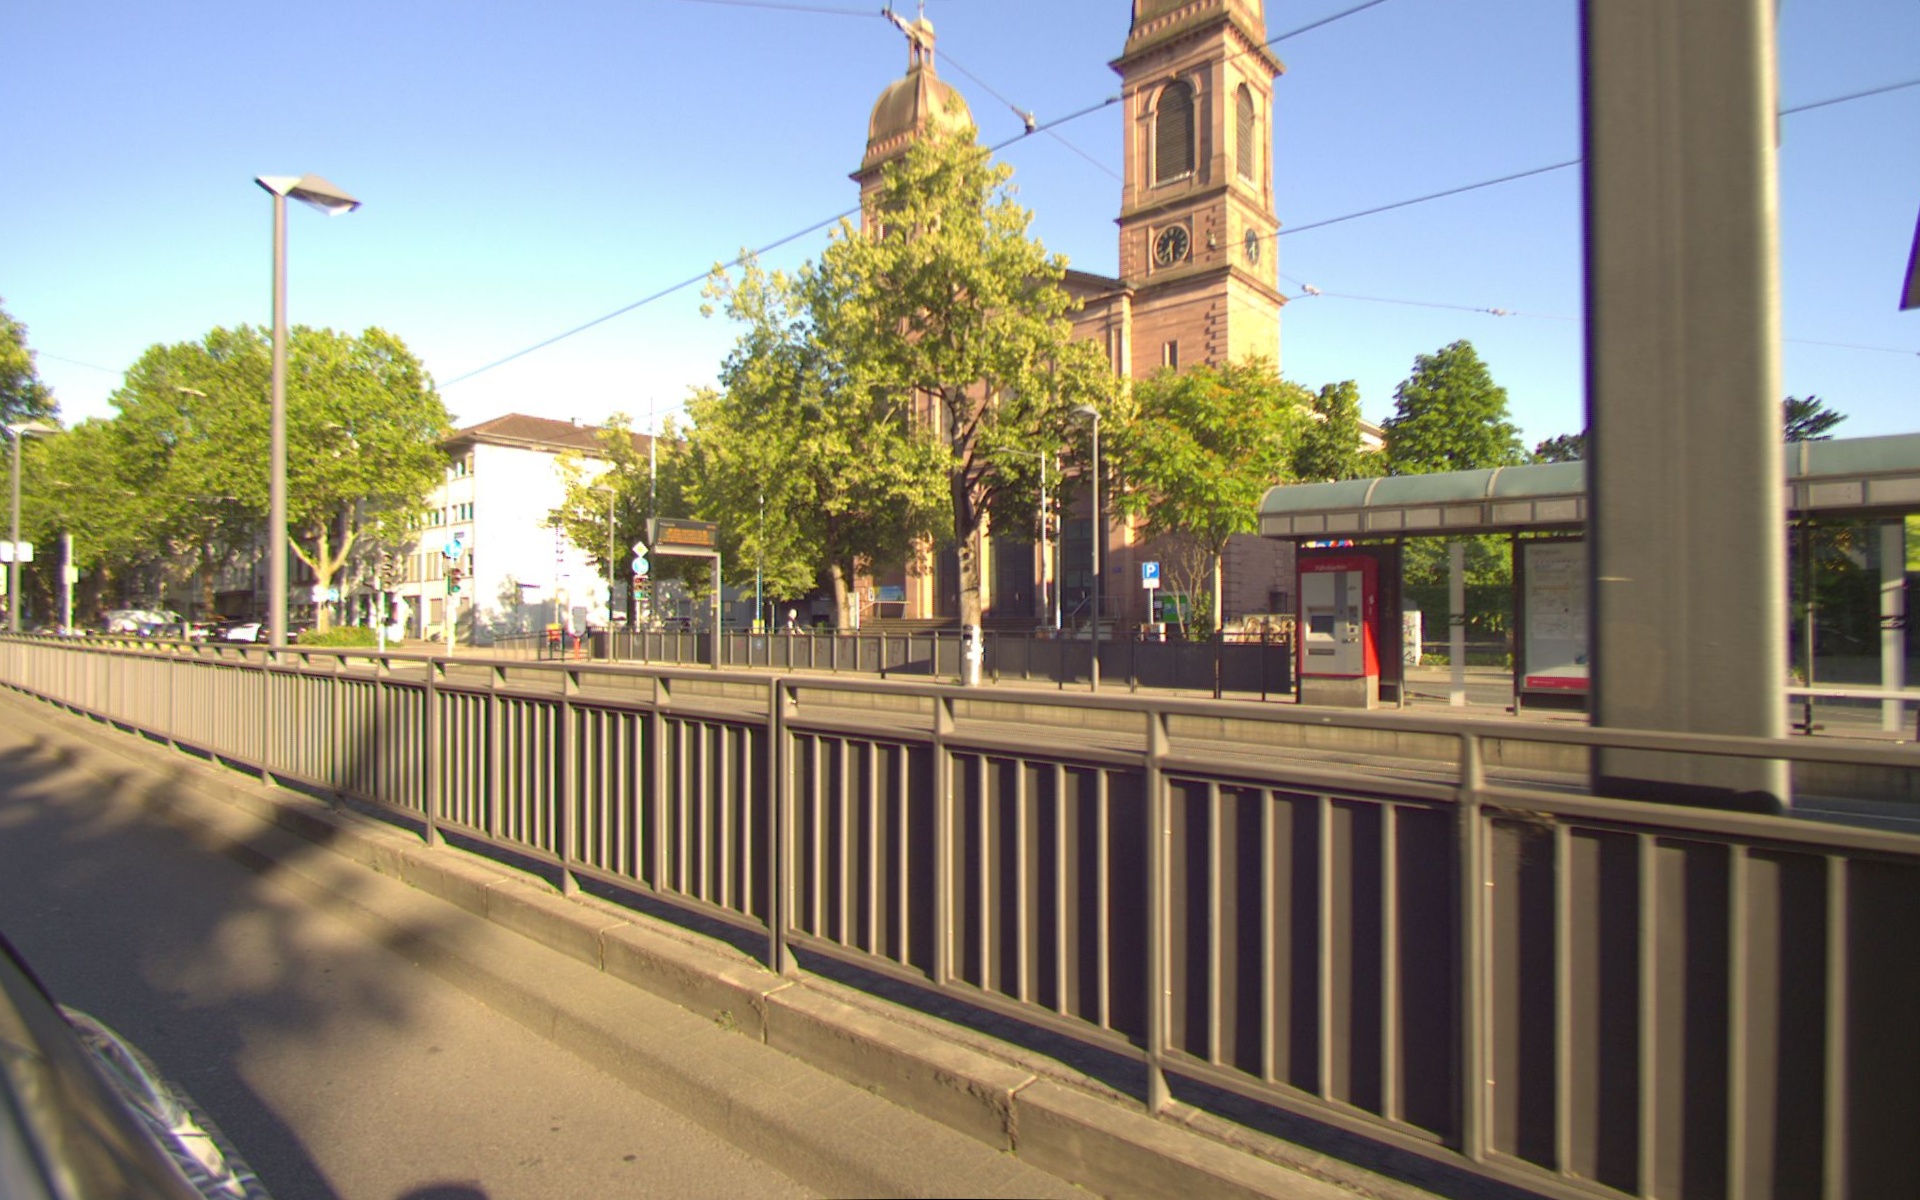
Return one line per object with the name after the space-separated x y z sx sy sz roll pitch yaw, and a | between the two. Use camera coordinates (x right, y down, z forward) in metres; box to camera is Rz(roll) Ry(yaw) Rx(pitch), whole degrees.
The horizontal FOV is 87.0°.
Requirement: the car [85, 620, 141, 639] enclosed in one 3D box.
-86.895 3.022 103.904 1.981 1.829 3.982 -1 -1 14 | car

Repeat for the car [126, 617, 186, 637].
-74.995 2.540 94.495 1.981 1.829 3.981 1 -2 14 | car

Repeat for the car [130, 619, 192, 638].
-70.799 2.516 89.711 1.981 1.630 3.982 -1 -1 14 | car

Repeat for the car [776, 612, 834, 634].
-10.501 1.584 68.473 3.999 1.409 1.792 -2 -2 42 | car

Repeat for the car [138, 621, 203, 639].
-68.393 2.563 87.710 1.986 1.529 3.972 -1 -1 21 | car

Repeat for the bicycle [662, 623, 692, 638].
-19.403 2.102 69.456 0.632 0.988 1.962 -2 -2 42 | bicycle

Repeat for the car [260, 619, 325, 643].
-43.766 2.022 66.427 1.717 1.443 3.972 -2 -1 -2 | car

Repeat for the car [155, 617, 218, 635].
-65.034 2.207 85.194 1.884 1.468 4.250 0 -1 5 | car

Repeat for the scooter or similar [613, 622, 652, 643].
-19.222 1.911 59.294 2.447 1.135 1.082 -5 -4 42 | scooter or similar

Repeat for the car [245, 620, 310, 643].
-46.219 2.104 68.617 1.805 1.515 3.972 0 -1 -2 | car

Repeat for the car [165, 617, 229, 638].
-60.192 2.149 79.969 1.880 1.626 4.257 0 -1 -1 | car

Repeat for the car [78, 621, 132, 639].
-89.465 3.083 105.930 1.981 1.829 3.982 -1 -1 14 | car

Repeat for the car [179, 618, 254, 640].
-54.973 2.123 74.945 1.634 1.569 4.220 -1 -1 26 | car

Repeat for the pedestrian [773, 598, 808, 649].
-6.018 0.828 35.966 0.832 1.773 0.909 0 -1 43 | pedestrian

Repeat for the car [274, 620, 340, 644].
-41.395 1.997 64.272 1.747 1.442 3.972 0 -1 -2 | car

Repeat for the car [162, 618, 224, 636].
-62.725 2.201 82.854 1.582 1.470 4.250 0 -1 5 | car

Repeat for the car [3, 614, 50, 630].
-132.160 3.095 143.339 2.072 2.230 4.942 0 -1 -1 | car

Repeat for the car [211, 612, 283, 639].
-52.913 1.886 75.184 1.508 1.958 4.220 -1 -1 26 | car

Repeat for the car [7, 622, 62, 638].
-99.796 3.243 109.166 1.981 1.719 3.982 -1 -1 14 | car

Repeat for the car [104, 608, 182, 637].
-77.534 2.142 96.168 2.161 2.721 5.582 -1 -1 17 | car

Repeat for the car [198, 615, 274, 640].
-51.234 1.951 71.731 2.127 1.697 4.249 -1 -1 6 | car

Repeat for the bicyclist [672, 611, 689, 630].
-19.216 1.421 69.673 0.633 1.341 0.956 -2 -2 42 | bicyclist

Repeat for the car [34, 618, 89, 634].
-99.193 2.846 111.769 1.997 1.719 4.183 -1 -1 37 | car

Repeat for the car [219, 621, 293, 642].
-48.544 2.127 69.914 2.123 1.388 4.256 0 -1 1 | car
